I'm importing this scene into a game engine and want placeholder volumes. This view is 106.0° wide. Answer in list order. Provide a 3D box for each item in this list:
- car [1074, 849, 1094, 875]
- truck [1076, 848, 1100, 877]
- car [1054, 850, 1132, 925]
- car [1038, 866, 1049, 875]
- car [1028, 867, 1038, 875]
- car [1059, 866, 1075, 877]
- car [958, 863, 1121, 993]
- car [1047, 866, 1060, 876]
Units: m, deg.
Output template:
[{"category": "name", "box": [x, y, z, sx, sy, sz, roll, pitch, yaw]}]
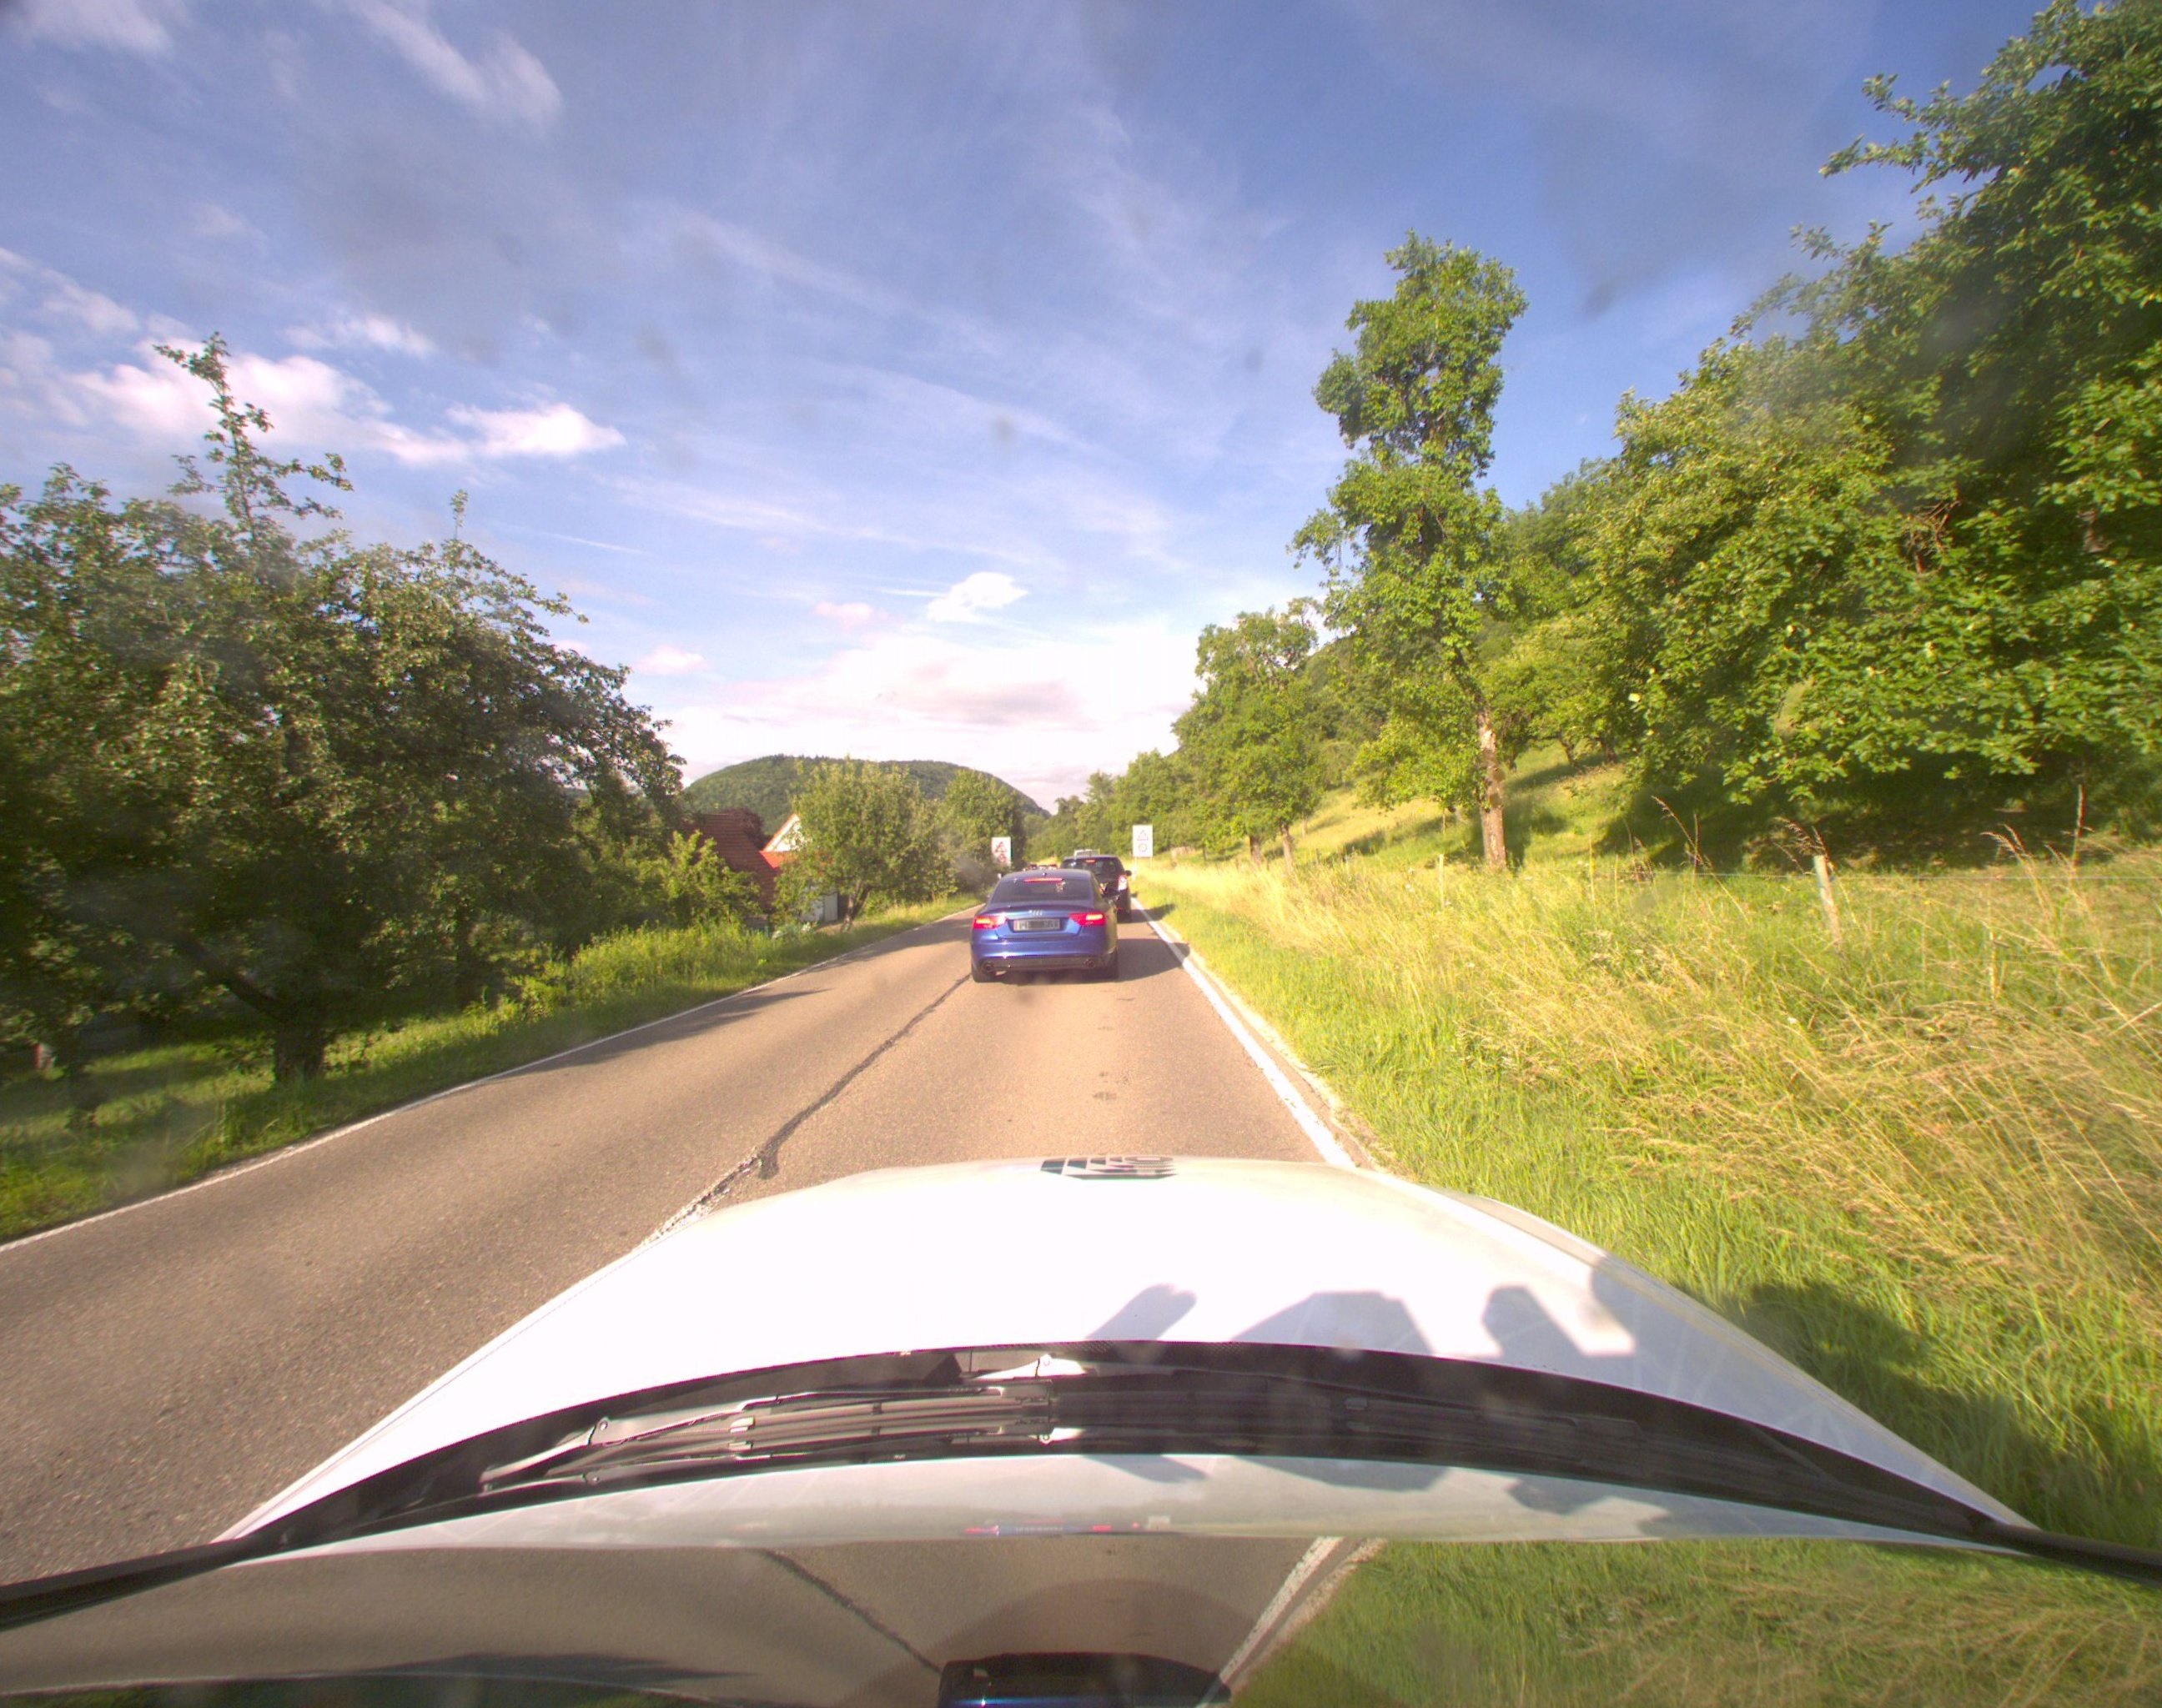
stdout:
[{"category": "car", "box": [0.291, 0.755, 77.639, 1.787, 2.453, 3.916, 1, 0, -2]}, {"category": "truck", "box": [0.578, 0.679, 68.165, 1.943, 2.345, 5.094, 1, 0, 1]}, {"category": "car", "box": [0.296, 0.738, 19.716, 1.687, 1.624, 3.790, -1, 0, 1]}, {"category": "car", "box": [-6.650, 2.873, 144.071, 1.559, 1.496, 3.765, 1, 0, -10]}, {"category": "car", "box": [-9.235, 3.263, 156.558, 1.559, 1.496, 3.764, 1, 0, -11]}, {"category": "car", "box": [-1.920, 2.379, 111.288, 1.746, 1.496, 3.769, 1, 0, -7]}, {"category": "car", "box": [-0.404, 0.852, 11.267, 1.799, 1.382, 4.216, -2, 0, 2]}, {"category": "car", "box": [-4.487, 2.801, 131.995, 1.748, 1.496, 3.766, 1, 0, -9]}]
